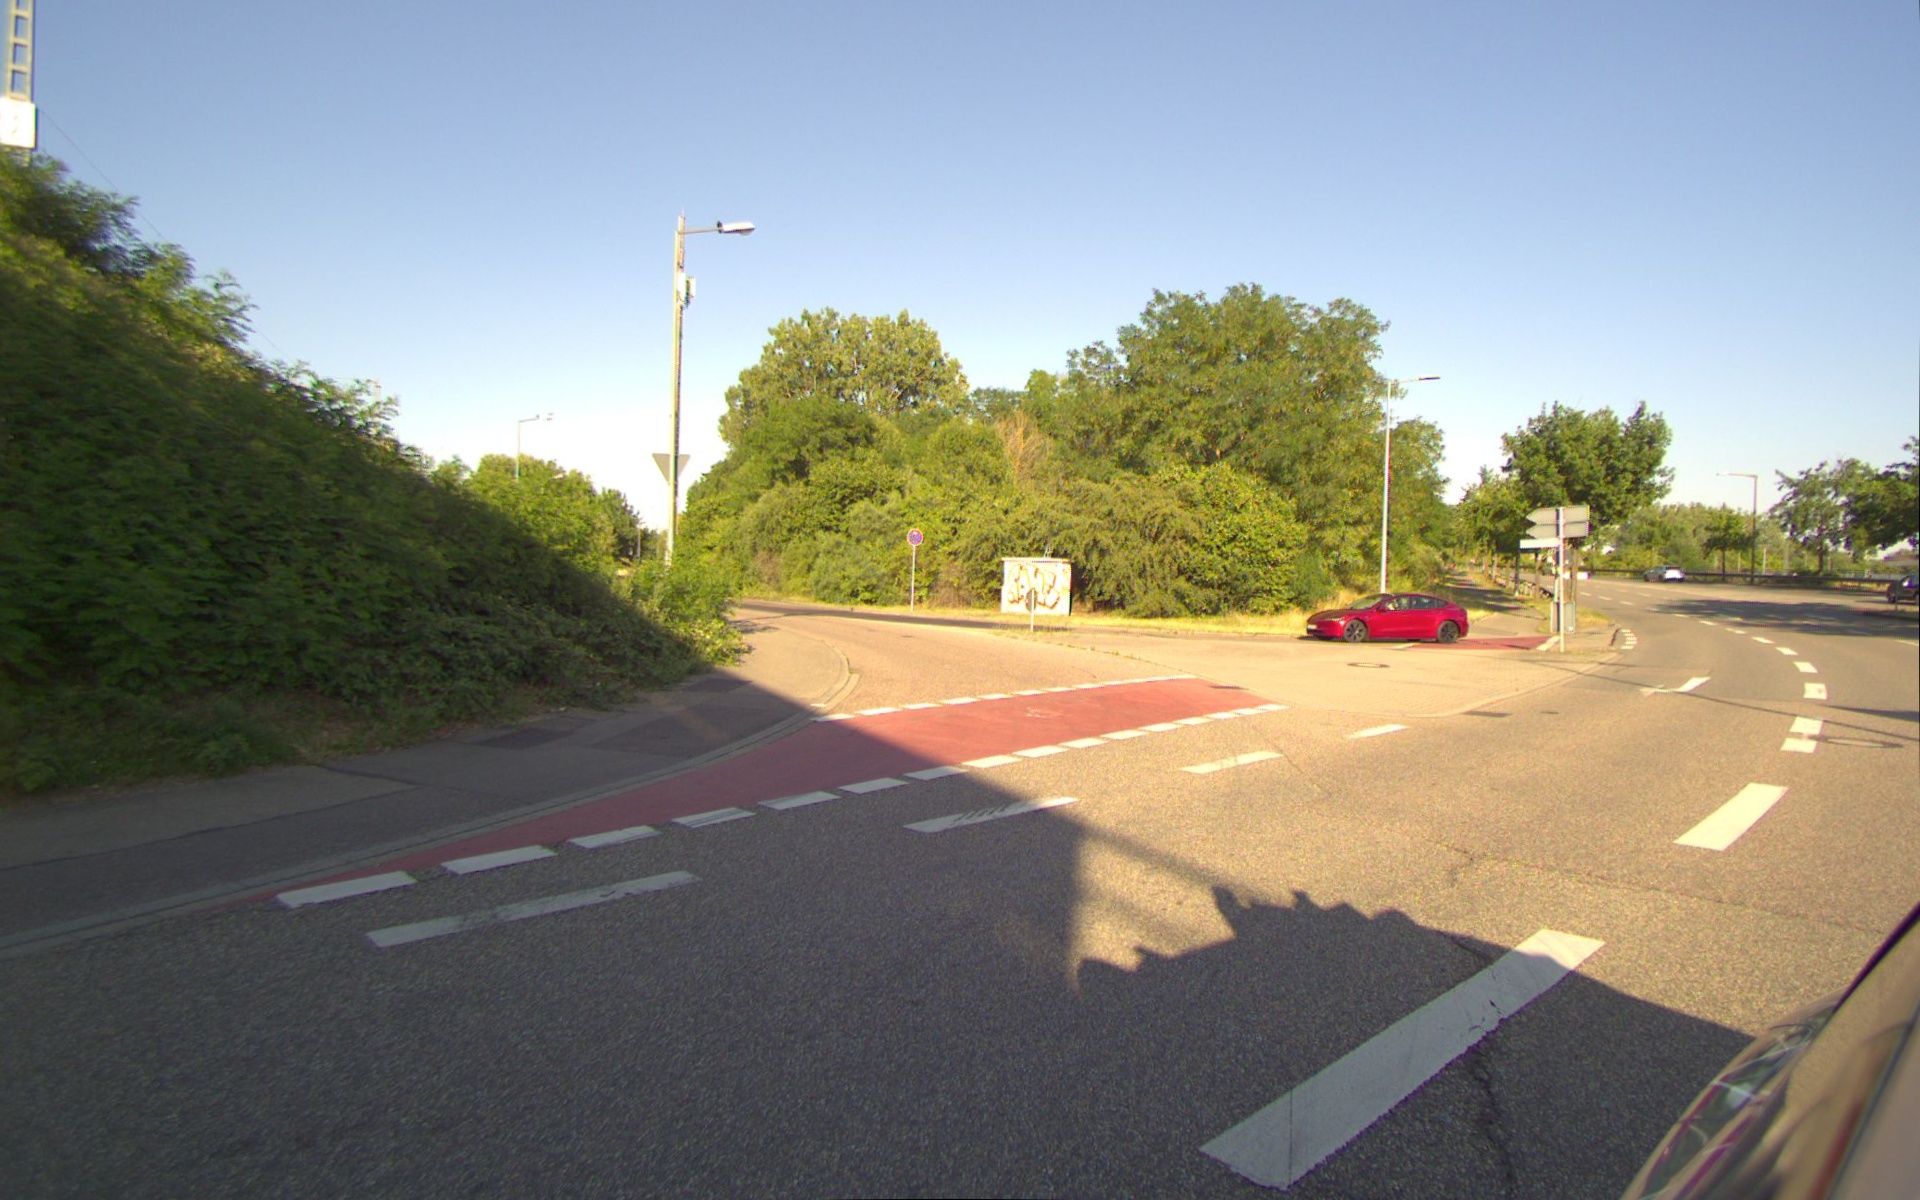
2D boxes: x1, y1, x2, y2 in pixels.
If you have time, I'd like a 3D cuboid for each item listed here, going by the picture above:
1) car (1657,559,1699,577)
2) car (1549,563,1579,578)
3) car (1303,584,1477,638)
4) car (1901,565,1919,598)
[{"bbox_3d":[61.528,-2.734,86.761,1.654,1.480,4.086,1,2,16],"label":"car"},{"bbox_3d":[63.637,-3.087,106.642,1.720,1.481,3.750,-1,1,14],"label":"car"},{"bbox_3d":[12.303,0.302,29.093,4.270,1.460,1.785,0,-1,-9],"label":"car"},{"bbox_3d":[48.440,-0.895,49.620,1.830,1.623,4.365,1,2,21],"label":"car"}]
